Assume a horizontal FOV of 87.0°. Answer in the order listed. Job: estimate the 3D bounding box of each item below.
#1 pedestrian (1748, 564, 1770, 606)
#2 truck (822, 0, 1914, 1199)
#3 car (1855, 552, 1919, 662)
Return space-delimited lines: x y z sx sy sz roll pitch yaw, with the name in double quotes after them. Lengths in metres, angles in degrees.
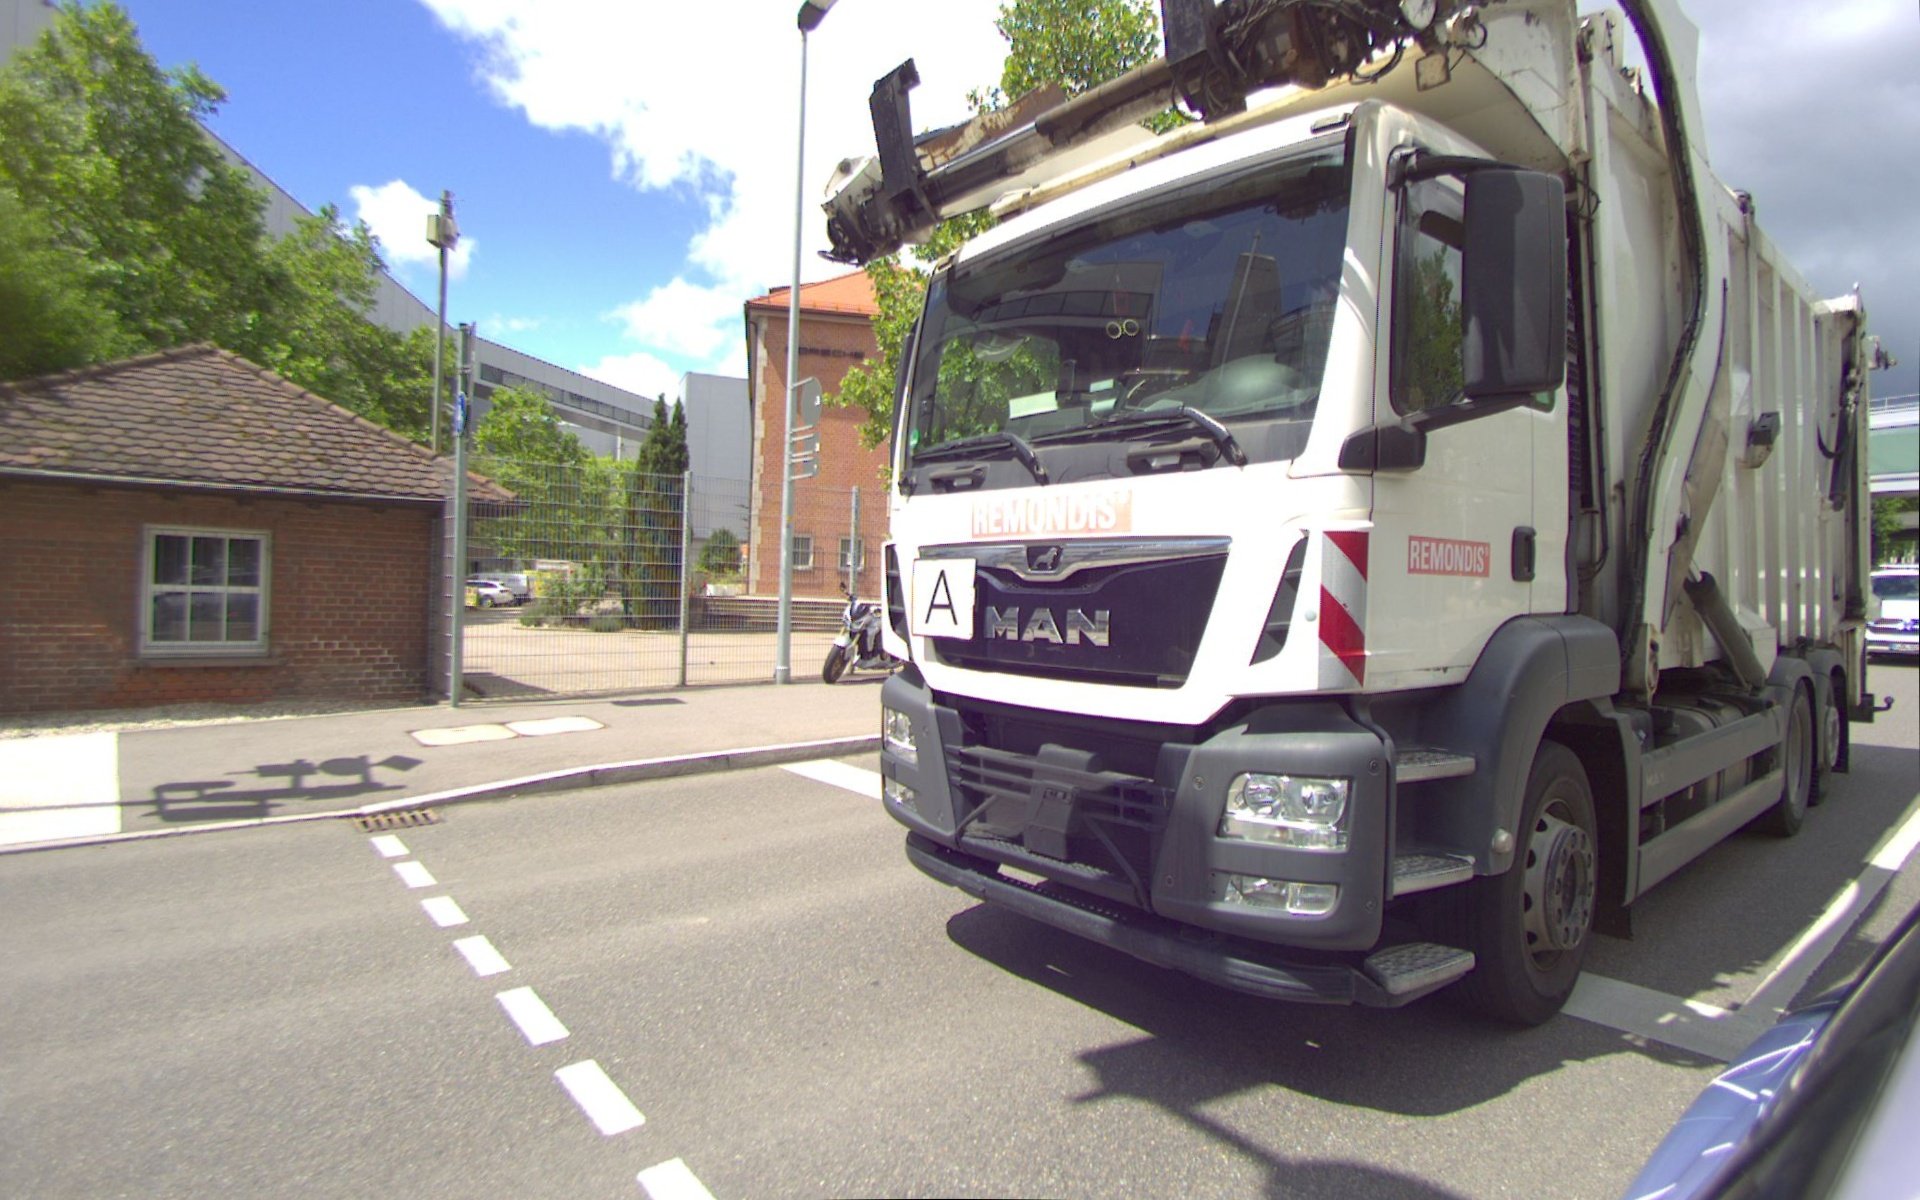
37.348 -0.694 47.317 0.737 1.936 0.648 -1 0 44 "pedestrian"
3.982 -0.668 6.660 10.000 3.962 2.493 -2 1 -42 "truck"
20.282 0.112 20.986 4.574 2.121 1.925 -1 1 -40 "car"
